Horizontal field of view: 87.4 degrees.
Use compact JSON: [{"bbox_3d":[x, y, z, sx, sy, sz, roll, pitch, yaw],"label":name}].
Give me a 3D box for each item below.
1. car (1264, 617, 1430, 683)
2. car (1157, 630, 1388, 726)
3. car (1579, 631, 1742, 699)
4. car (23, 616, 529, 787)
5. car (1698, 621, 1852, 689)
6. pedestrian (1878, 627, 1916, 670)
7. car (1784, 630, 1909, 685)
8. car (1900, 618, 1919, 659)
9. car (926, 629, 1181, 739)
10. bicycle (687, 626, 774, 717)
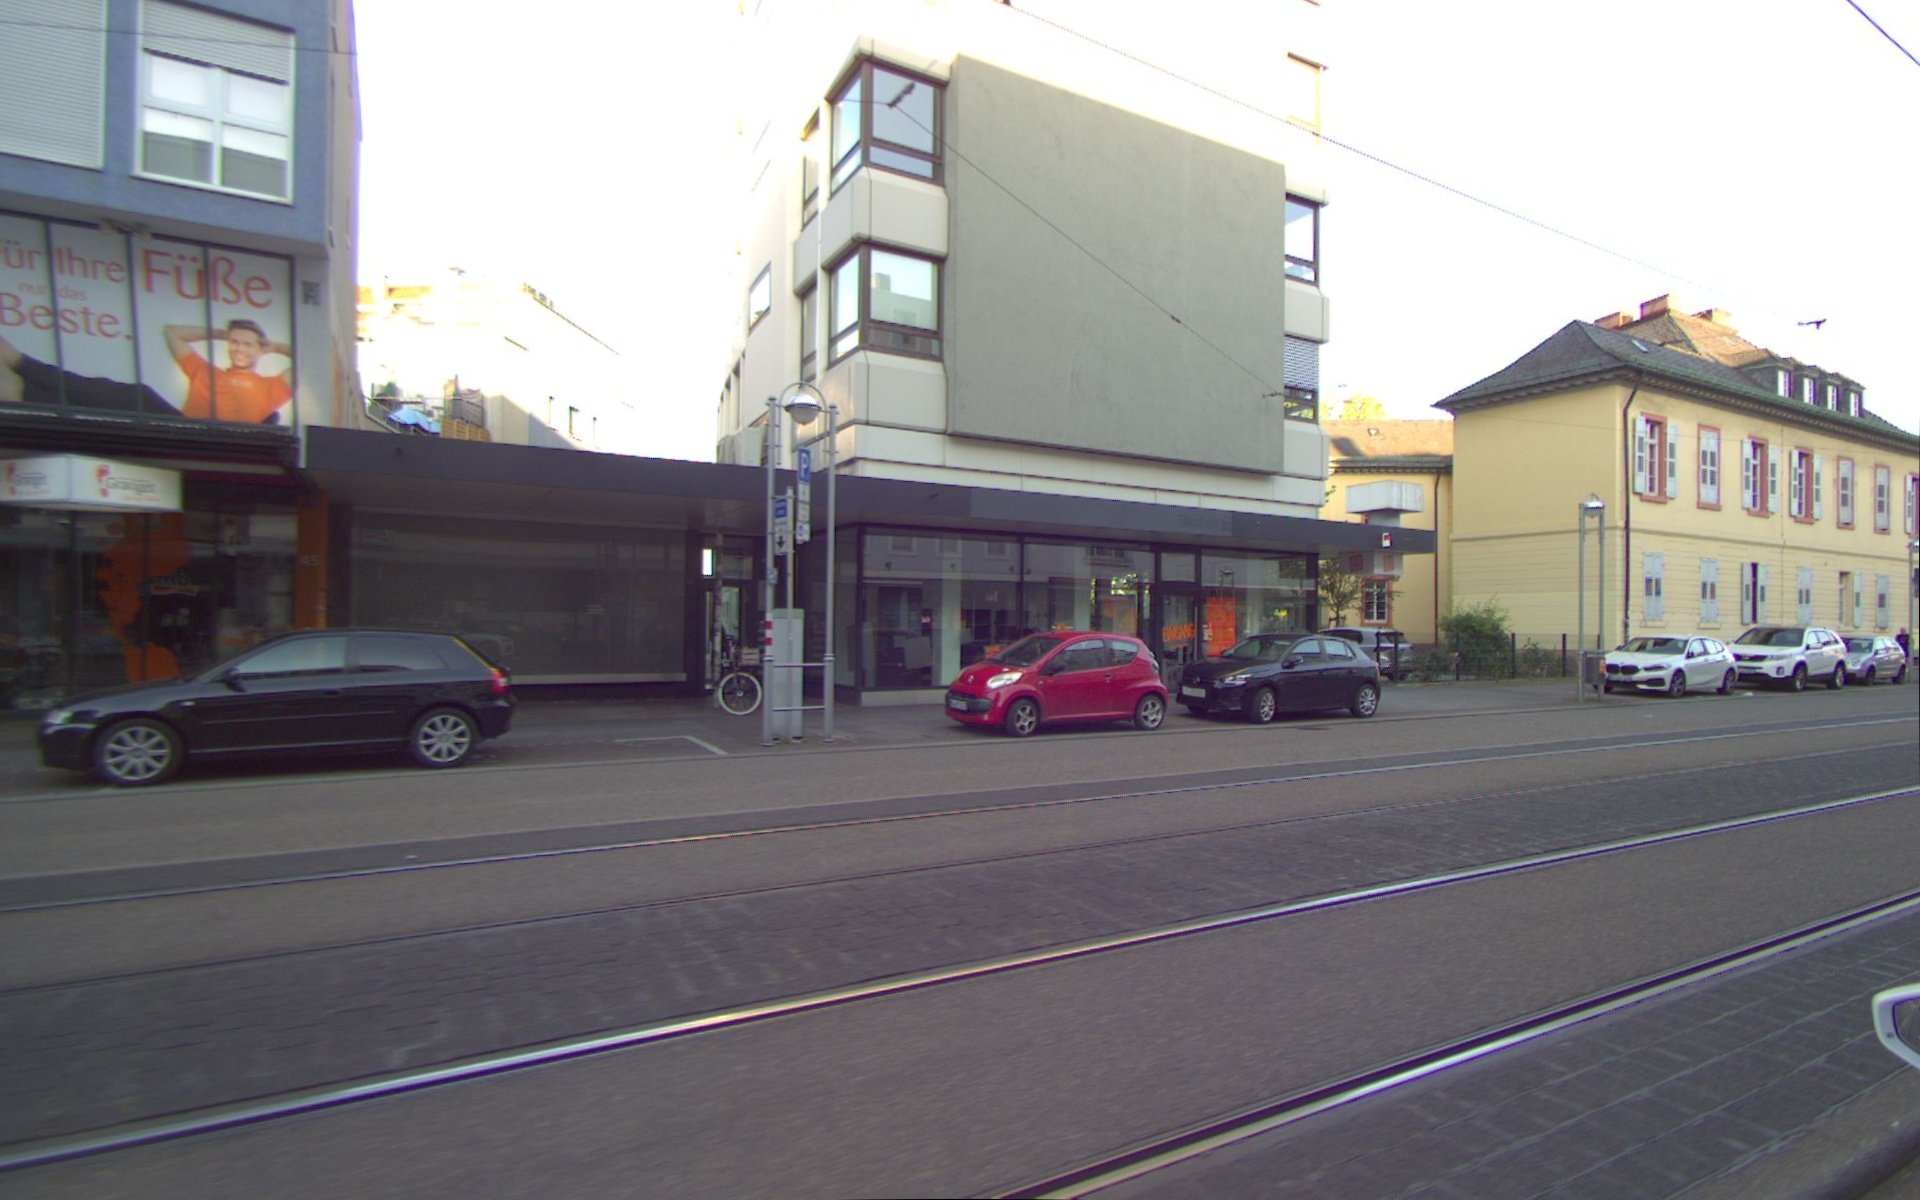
[{"bbox_3d":[10.618,1.329,27.824,1.893,1.573,3.965,2,0,-31],"label":"car"},{"bbox_3d":[5.534,1.291,17.692,3.919,1.444,1.683,1,1,-30],"label":"car"},{"bbox_3d":[17.313,1.550,24.787,4.234,1.472,1.712,1,0,-31],"label":"car"},{"bbox_3d":[-6.800,0.943,10.520,4.042,1.480,1.782,1,-2,-29],"label":"car"},{"bbox_3d":[22.574,1.470,27.775,4.709,1.683,1.876,1,0,-32],"label":"car"},{"bbox_3d":[35.753,1.848,38.312,0.866,1.562,0.796,2,0,-28],"label":"pedestrian"},{"bbox_3d":[27.152,1.712,30.745,3.953,1.494,1.739,1,1,-31],"label":"car"},{"bbox_3d":[49.145,1.898,49.599,3.946,2.040,1.988,-1,-2,44],"label":"car"},{"bbox_3d":[1.439,1.192,15.216,3.550,1.453,1.683,1,-1,-30],"label":"car"},{"bbox_3d":[-3.885,1.151,16.862,0.865,1.358,2.037,2,0,-29],"label":"bicycle"}]
